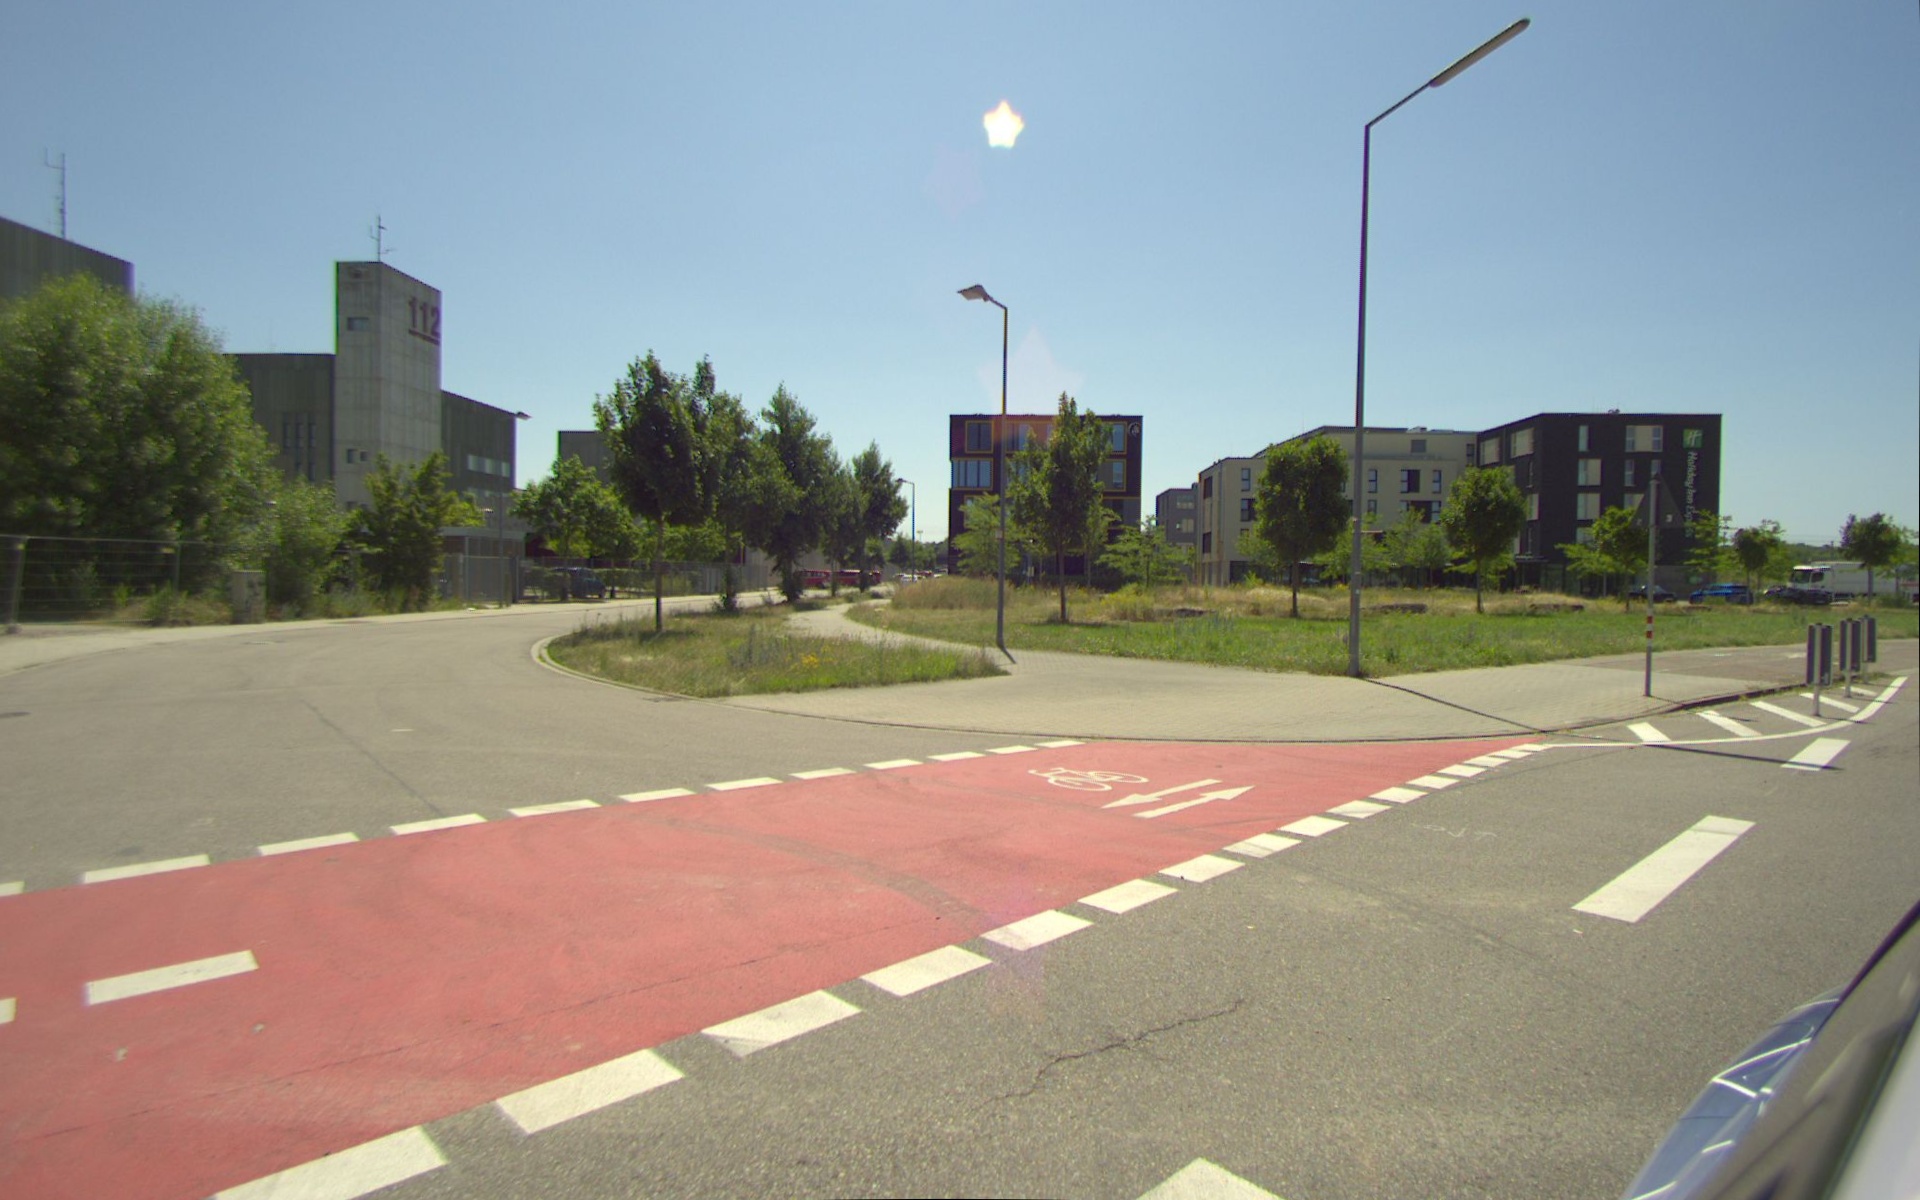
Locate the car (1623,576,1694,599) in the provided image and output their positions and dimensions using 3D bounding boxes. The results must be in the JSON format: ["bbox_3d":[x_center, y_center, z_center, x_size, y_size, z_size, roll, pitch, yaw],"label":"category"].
[{"bbox_3d":[48.097,-0.886,69.806,1.924,1.462,4.130,0,2,-3],"label":"car"}]

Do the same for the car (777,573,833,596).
[{"bbox_3d":[-15.243,-1.527,99.722,5.068,2.142,2.234,0,1,5],"label":"car"}]

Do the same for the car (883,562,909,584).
[{"bbox_3d":[-5.972,-2.497,94.505,1.925,1.953,3.488,-1,0,5],"label":"car"}]

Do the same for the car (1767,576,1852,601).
[{"bbox_3d":[57.510,-0.806,68.624,1.994,1.581,4.507,1,2,2],"label":"car"}]

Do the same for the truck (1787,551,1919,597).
[{"bbox_3d":[72.030,-2.074,78.886,11.924,3.503,3.016,0,3,5],"label":"truck"}]

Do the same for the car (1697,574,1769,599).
[{"bbox_3d":[52.983,-0.942,69.455,1.919,1.672,4.069,0,1,3],"label":"car"}]

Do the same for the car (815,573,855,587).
[{"bbox_3d":[-14.547,-2.325,117.929,4.440,1.529,1.803,0,1,1],"label":"car"}]

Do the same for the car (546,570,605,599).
[{"bbox_3d":[-20.880,-0.885,55.061,1.624,1.509,3.999,0,2,2],"label":"car"}]
